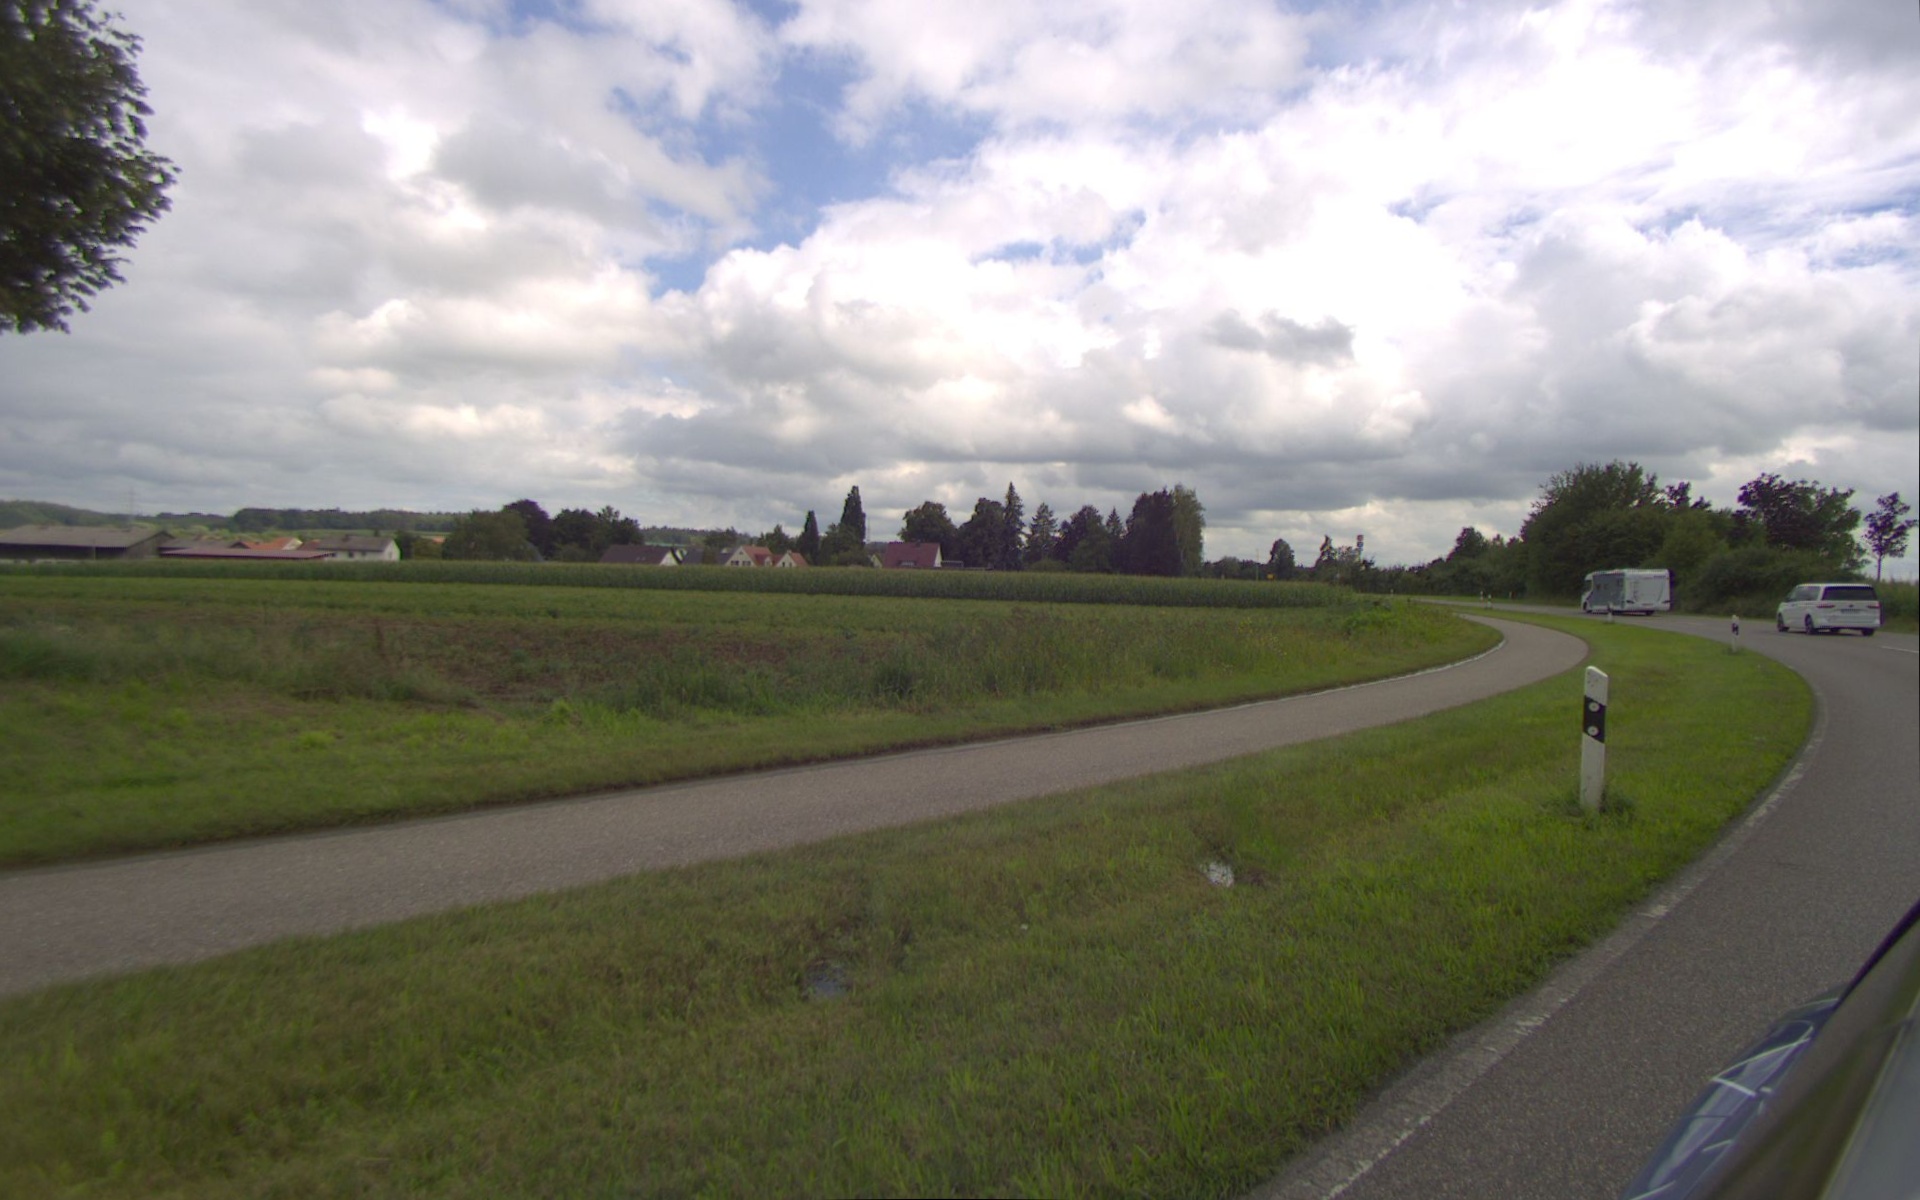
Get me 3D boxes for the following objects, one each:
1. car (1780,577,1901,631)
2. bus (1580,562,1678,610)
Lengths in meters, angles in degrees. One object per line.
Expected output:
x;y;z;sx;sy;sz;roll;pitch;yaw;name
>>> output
33.395;0.100;38.575;2.098;1.892;5.142;1;1;25;car
41.262;-0.916;62.718;2.447;2.745;8.392;1;1;15;bus
